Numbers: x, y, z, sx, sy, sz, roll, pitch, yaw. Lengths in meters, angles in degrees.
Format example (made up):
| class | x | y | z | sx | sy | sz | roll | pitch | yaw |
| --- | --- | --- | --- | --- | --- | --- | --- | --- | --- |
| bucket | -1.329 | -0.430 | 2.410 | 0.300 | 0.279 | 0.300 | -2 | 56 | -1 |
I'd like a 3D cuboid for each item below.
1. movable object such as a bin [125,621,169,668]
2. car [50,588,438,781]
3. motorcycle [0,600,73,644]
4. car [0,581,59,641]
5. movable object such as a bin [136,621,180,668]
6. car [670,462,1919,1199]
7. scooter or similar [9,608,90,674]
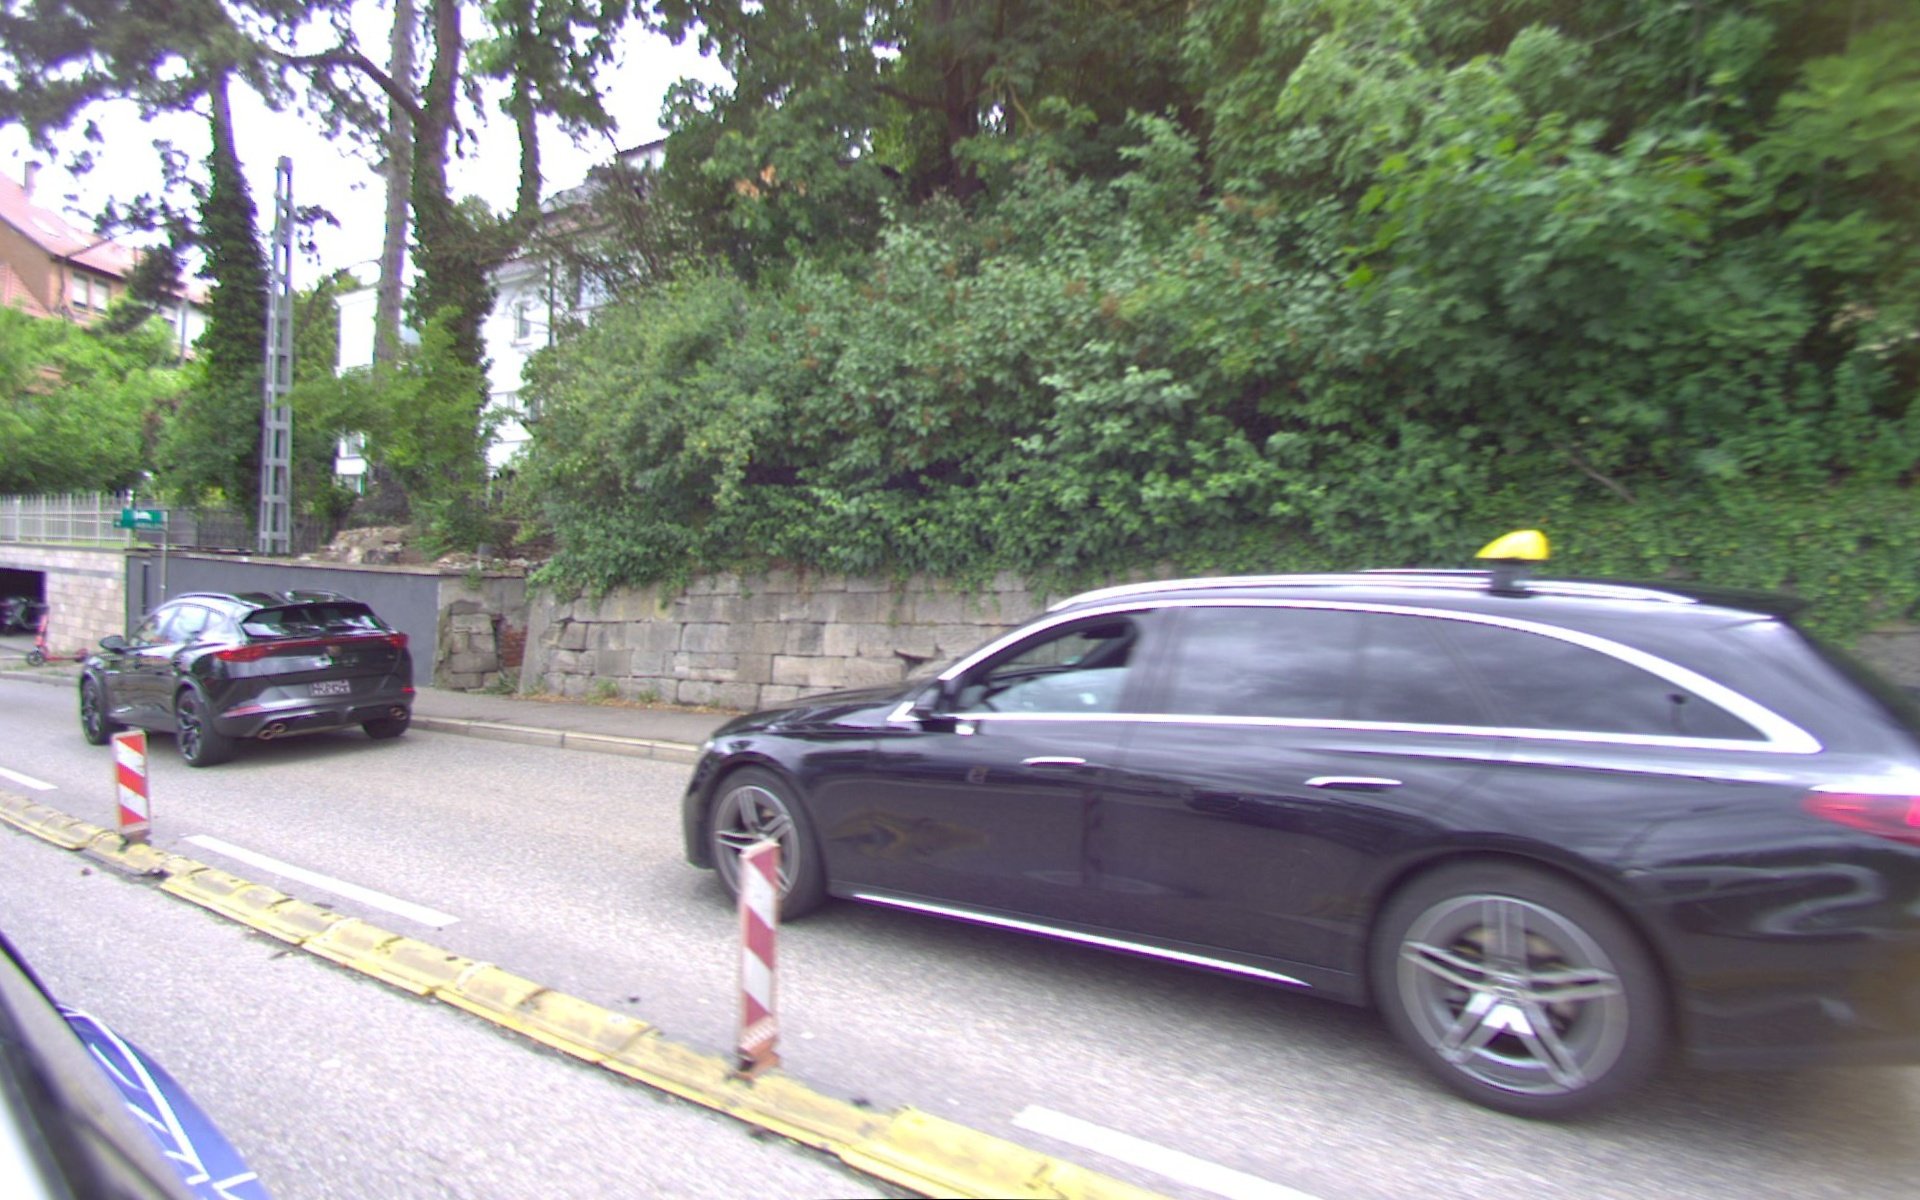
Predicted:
| class | x | y | z | sx | sy | sz | roll | pitch | yaw |
| --- | --- | --- | --- | --- | --- | --- | --- | --- | --- |
| movable object such as a bin | -17.175 | 0.925 | 21.372 | 0.599 | 0.946 | 0.538 | -1 | 1 | 33 |
| car | -7.273 | 0.697 | 10.150 | 4.308 | 1.496 | 1.813 | -1 | 2 | 35 |
| motorcycle | -28.456 | 0.661 | 31.009 | 0.636 | 1.191 | 1.821 | 5 | 5 | 37 |
| car | -30.274 | 0.306 | 32.214 | 3.579 | 1.616 | 1.555 | 4 | 5 | 34 |
| movable object such as a bin | -16.673 | 0.919 | 21.037 | 0.599 | 0.946 | 0.538 | -1 | 1 | 33 |
| car | 1.132 | 0.491 | 3.935 | 4.644 | 1.604 | 1.815 | -1 | 2 | 35 |
| scooter or similar | -18.531 | 0.818 | 20.626 | 0.488 | 1.241 | 1.214 | -2 | 1 | 1 |
